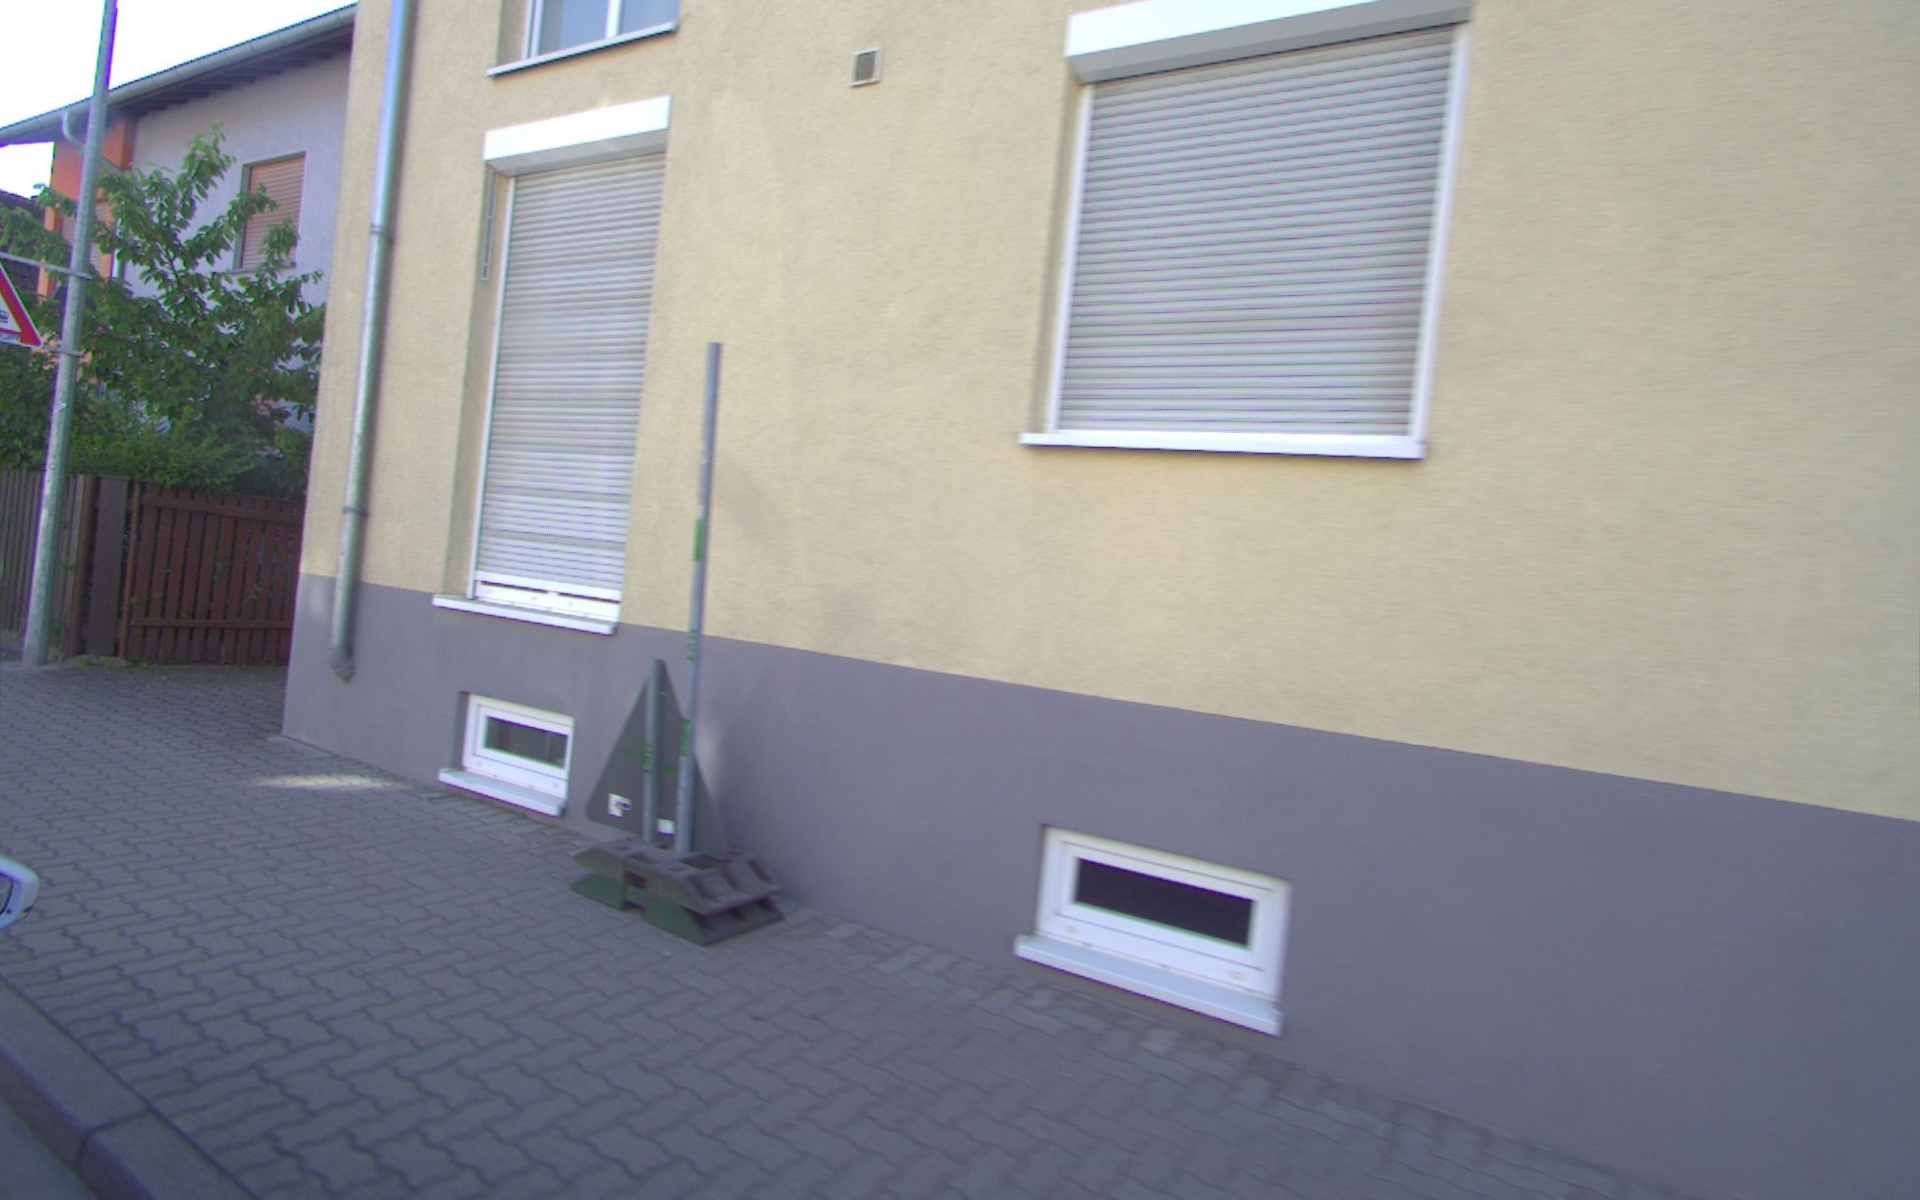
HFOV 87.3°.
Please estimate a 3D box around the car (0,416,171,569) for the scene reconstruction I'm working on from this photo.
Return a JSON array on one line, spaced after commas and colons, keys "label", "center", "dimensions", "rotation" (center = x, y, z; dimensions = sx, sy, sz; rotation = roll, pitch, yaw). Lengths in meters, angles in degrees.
[{"label": "car", "center": [-18.984, -2.190, 19.198], "dimensions": [1.934, 2.689, 5.810], "rotation": [5, 1, 29]}]
